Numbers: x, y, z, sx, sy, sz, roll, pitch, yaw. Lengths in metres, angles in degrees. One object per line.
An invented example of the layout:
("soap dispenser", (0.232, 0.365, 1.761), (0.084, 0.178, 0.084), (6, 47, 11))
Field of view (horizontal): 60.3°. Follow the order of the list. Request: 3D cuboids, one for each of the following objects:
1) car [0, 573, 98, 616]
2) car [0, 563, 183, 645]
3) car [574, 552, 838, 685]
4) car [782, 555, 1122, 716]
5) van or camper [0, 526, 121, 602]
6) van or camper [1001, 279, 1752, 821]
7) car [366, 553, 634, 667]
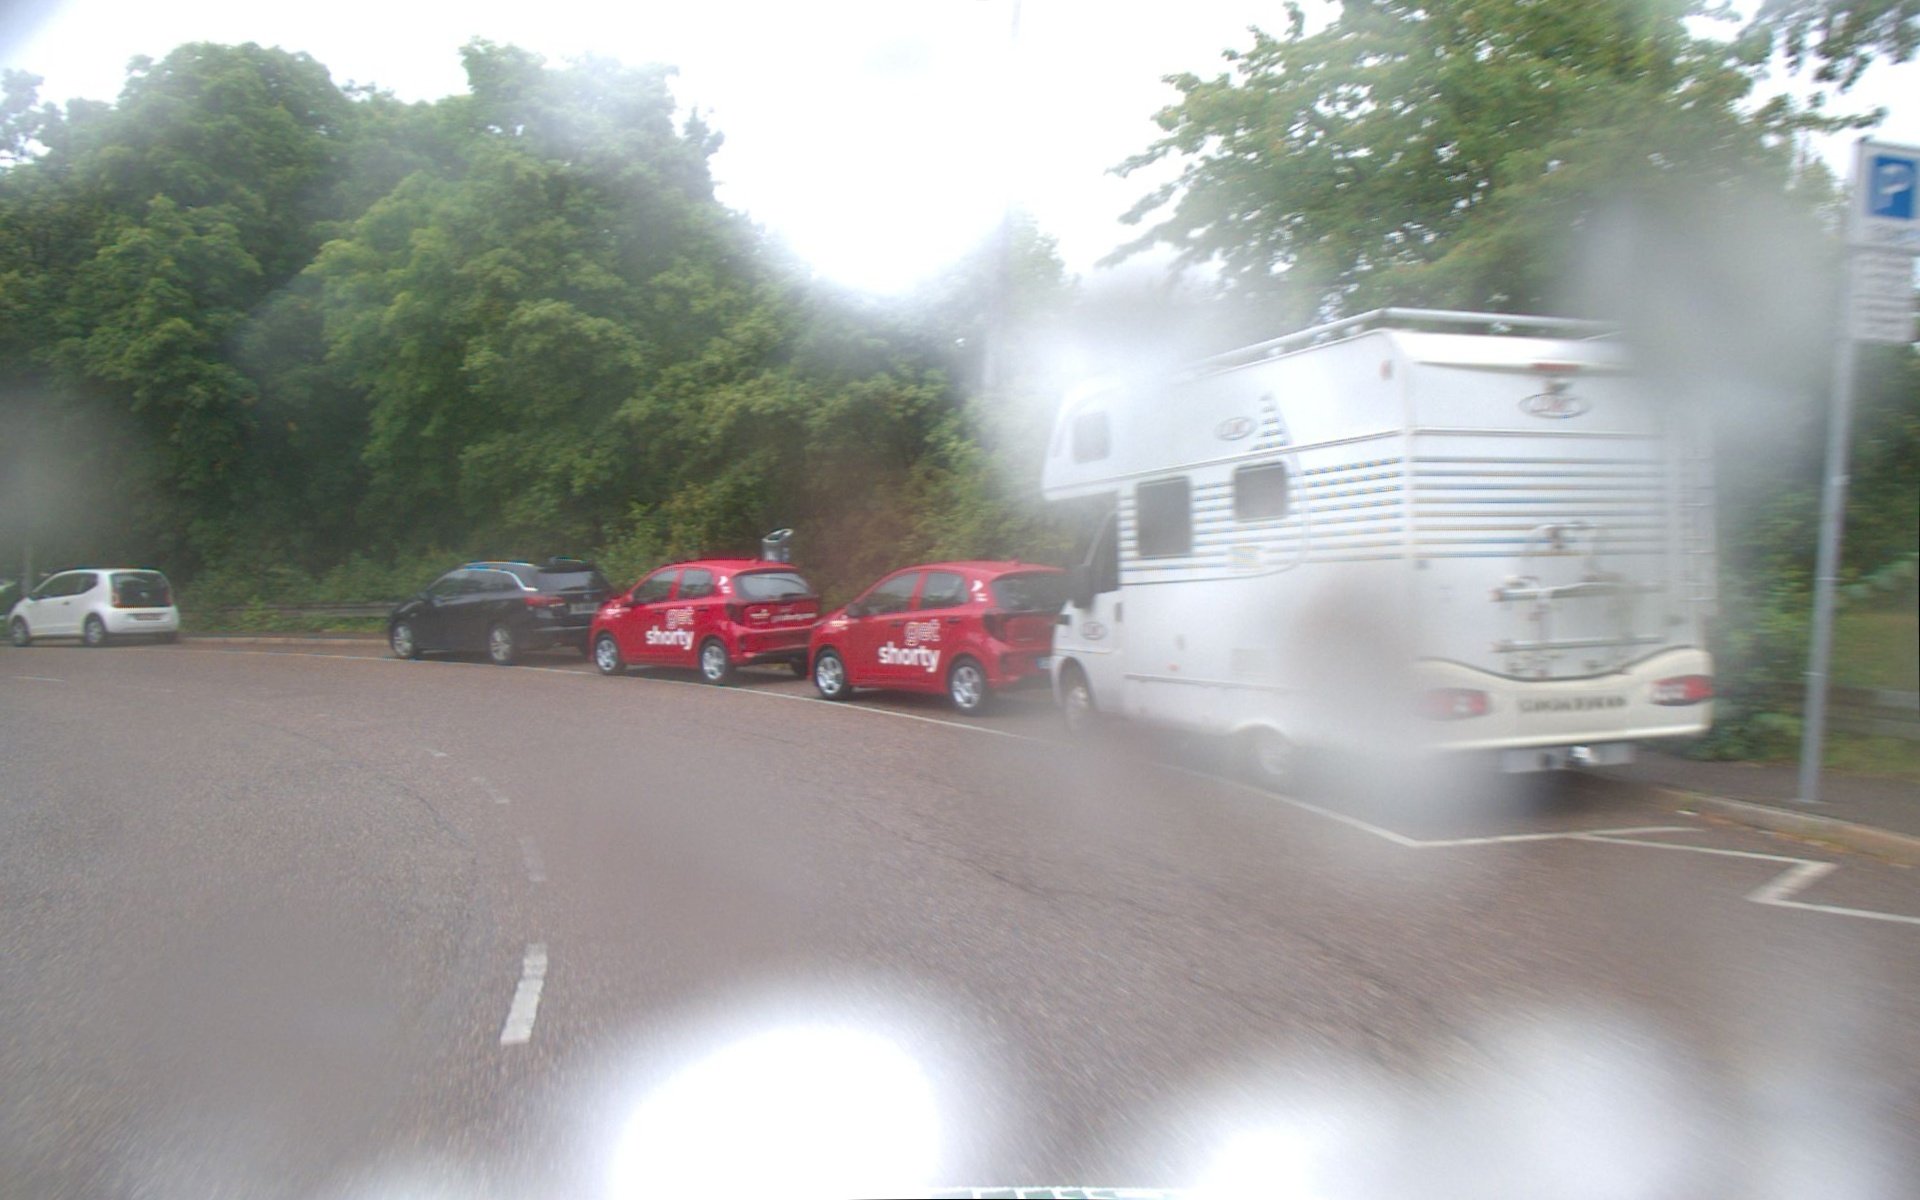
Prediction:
("car", (-37.091, -0.222, 65.998), (1.769, 1.597, 4.438), (2, 0, 36))
("car", (-17.088, 0.091, 32.397), (3.585, 1.528, 1.588), (0, 0, 29))
("car", (-3.362, 0.170, 21.579), (3.614, 1.539, 1.553), (2, 4, 44))
("car", (-0.178, 0.298, 17.828), (1.632, 1.486, 3.750), (-3, 3, -40))
("van or camper", (-40.332, -1.552, 70.784), (2.158, 2.981, 7.636), (7, 3, 34))
("van or camper", (2.598, -0.385, 12.511), (2.356, 2.995, 6.242), (-2, 2, -21))
("car", (-7.067, 0.089, 25.172), (4.511, 1.539, 1.714), (1, 3, 41))
